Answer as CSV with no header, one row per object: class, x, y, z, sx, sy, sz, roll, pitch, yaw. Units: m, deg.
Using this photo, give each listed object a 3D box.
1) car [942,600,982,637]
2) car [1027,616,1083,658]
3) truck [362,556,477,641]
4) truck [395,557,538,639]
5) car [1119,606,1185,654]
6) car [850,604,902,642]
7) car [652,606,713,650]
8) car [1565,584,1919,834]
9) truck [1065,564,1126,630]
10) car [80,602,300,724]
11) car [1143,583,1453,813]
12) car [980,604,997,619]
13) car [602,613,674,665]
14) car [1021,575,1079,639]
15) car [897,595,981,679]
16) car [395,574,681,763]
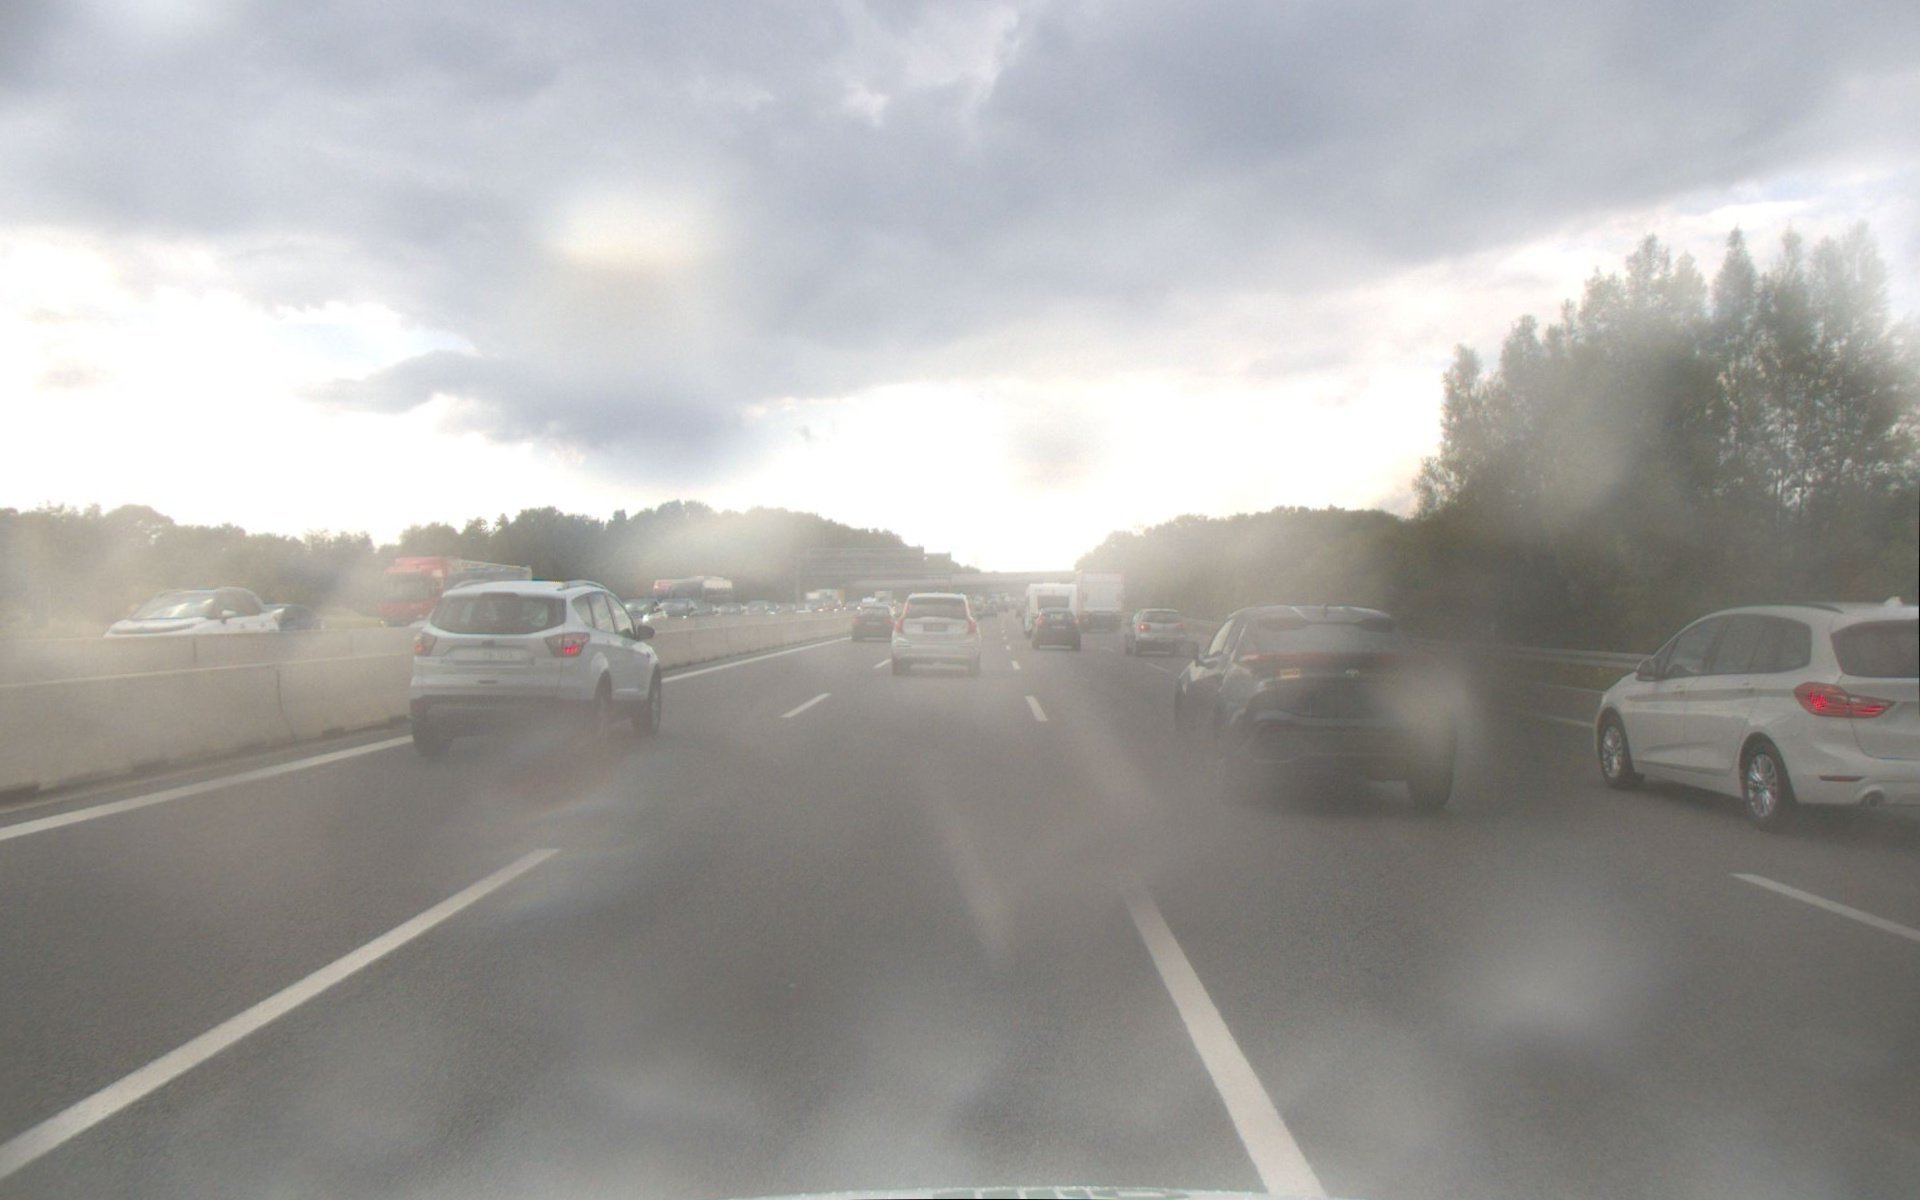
car,0.061,0.856,79.104,1.843,1.715,3.999,0,0,-1
car,3.352,1.299,59.181,1.846,1.431,4.283,0,0,1
truck,-25.021,-0.063,76.926,3.085,3.777,6.319,0,0,2
truck,-24.899,-0.063,84.404,3.083,3.811,13.300,0,0,1
car,6.173,0.942,53.595,1.758,1.503,4.038,0,0,1
car,-3.432,0.934,67.999,1.744,1.507,4.354,0,0,2
car,-13.105,1.279,78.309,1.952,2.001,4.697,0,0,1
car,6.528,0.723,13.116,1.773,1.627,4.695,0,0,0
truck,8.093,-0.169,99.756,3.068,3.774,9.848,0,0,1
car,-13.884,1.070,30.133,1.952,2.049,4.265,0,0,0
car,2.686,0.716,14.204,1.744,1.641,4.598,0,0,0
car,3.251,1.330,190.967,1.843,1.715,3.999,0,0,-1
car,-13.196,1.562,68.053,1.952,2.001,4.697,0,0,1
car,4.324,0.345,80.704,2.514,2.946,7.534,0,0,1
car,-0.448,0.781,36.867,1.744,1.746,4.352,0,0,0
car,-4.240,0.614,17.449,1.778,1.719,4.851,0,0,0
